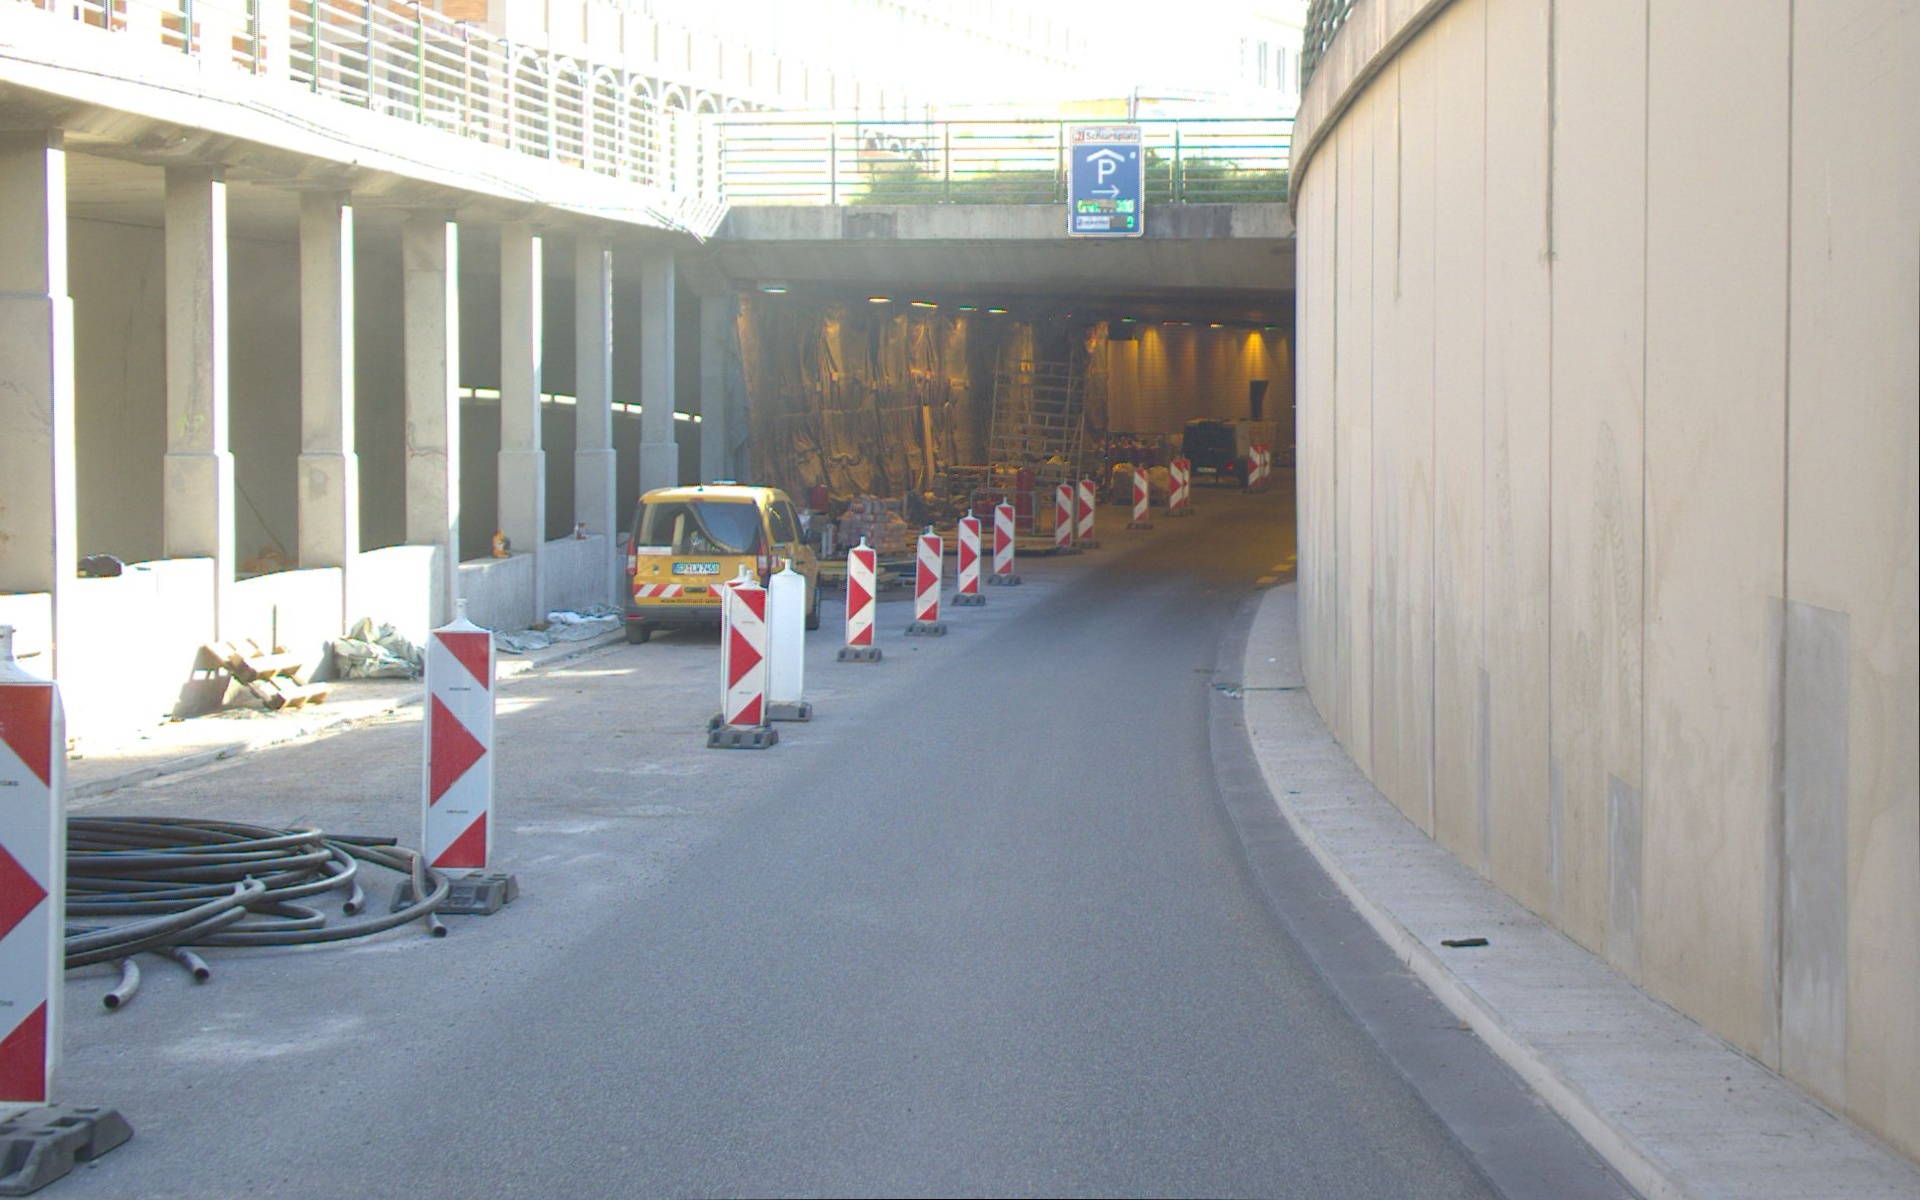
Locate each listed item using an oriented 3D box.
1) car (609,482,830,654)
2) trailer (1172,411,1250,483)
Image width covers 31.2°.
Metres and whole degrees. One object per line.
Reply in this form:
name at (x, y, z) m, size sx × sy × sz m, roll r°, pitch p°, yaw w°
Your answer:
car at (-2.751, -0.435, 40.293) m, size 1.848 × 1.769 × 4.434 m, roll 1°, pitch 3°, yaw 6°
trailer at (6.594, -4.031, 90.097) m, size 1.581 × 1.791 × 2.938 m, roll 2°, pitch 4°, yaw 12°
